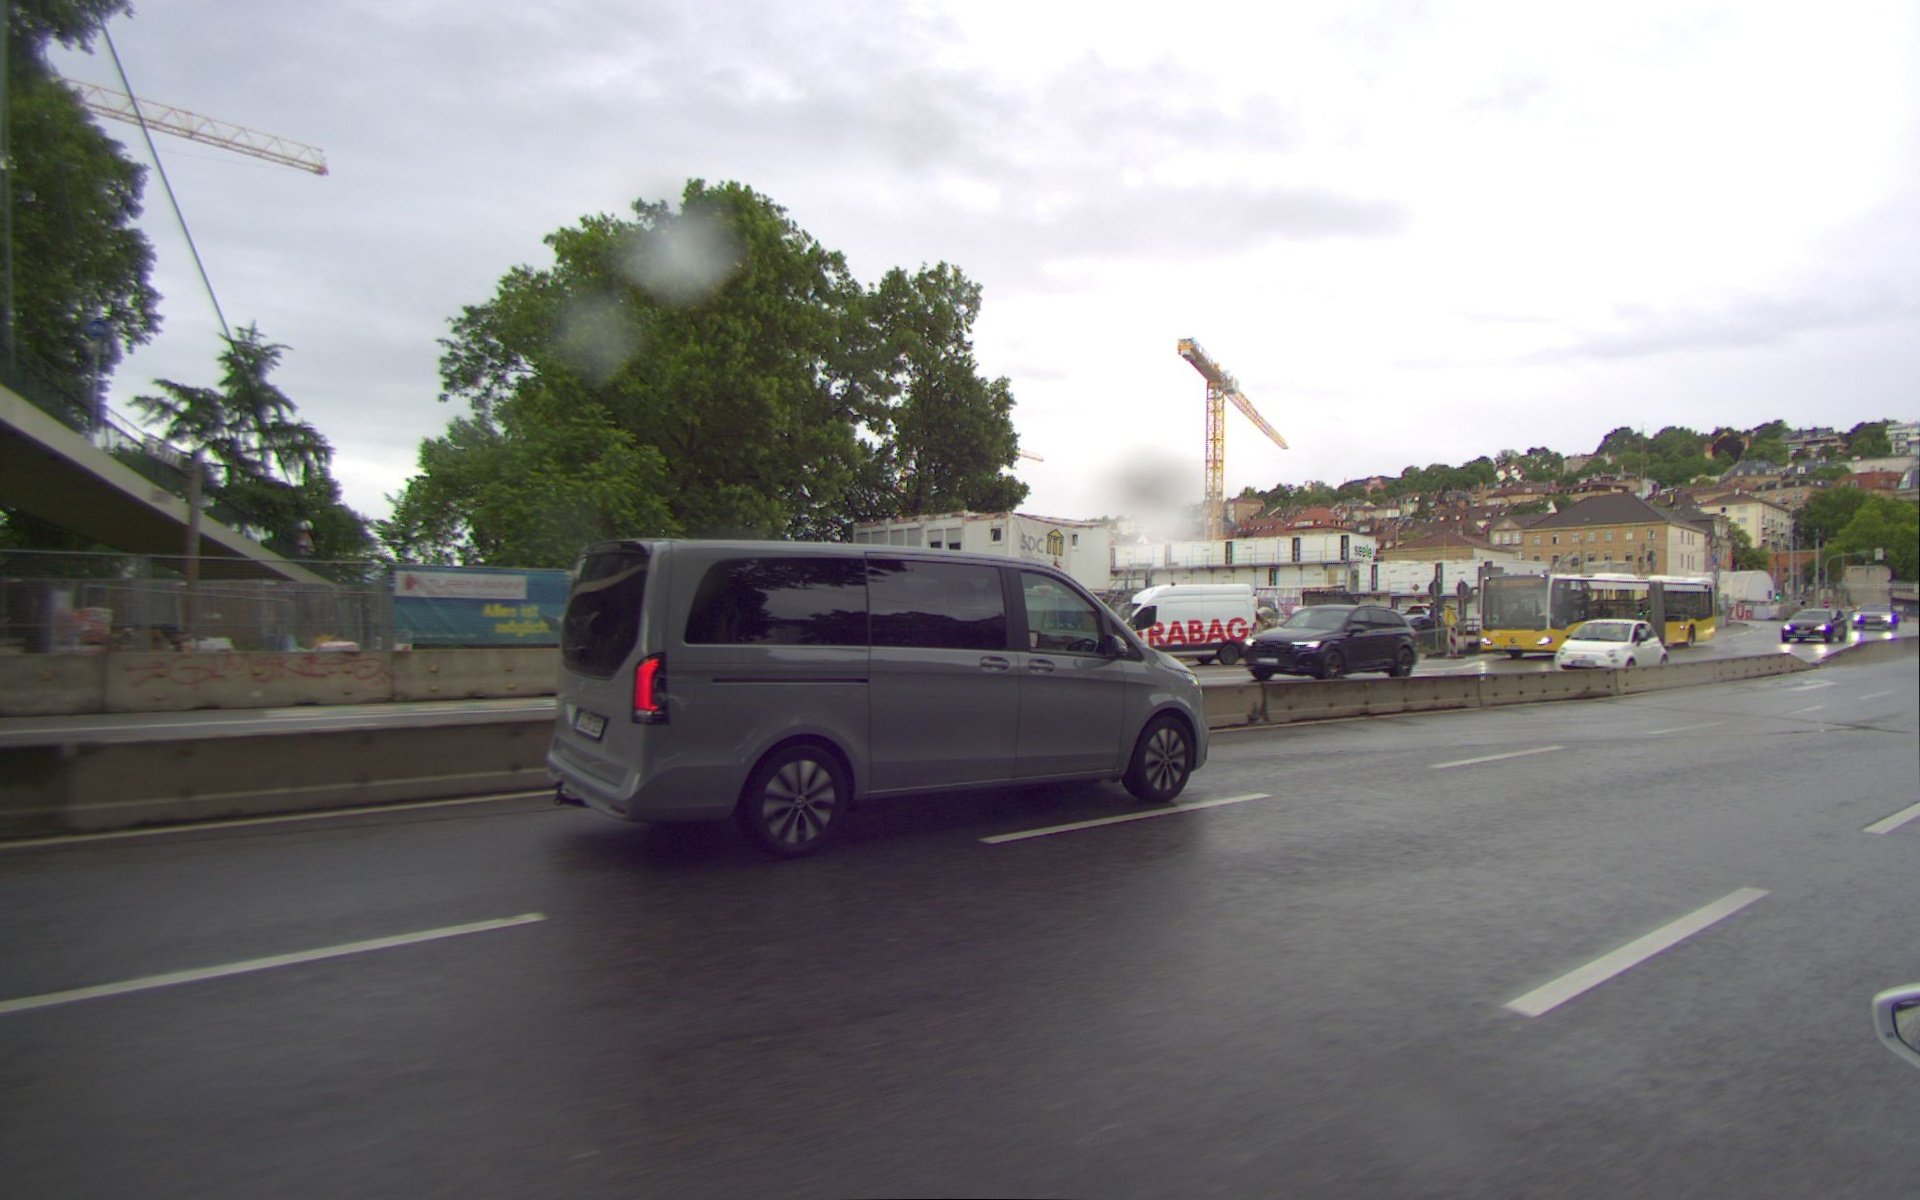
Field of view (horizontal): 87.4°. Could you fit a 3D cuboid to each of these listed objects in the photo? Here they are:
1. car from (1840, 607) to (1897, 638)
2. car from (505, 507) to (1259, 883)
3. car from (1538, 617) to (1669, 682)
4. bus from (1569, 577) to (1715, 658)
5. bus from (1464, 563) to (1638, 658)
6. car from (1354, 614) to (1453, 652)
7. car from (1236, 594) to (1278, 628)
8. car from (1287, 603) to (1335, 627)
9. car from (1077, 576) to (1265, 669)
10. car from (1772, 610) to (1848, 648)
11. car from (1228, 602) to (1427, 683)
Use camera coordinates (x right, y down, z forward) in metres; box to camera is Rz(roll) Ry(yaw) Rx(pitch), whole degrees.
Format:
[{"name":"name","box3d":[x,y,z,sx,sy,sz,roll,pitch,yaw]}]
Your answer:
[{"name":"car","box3d":[57.360,1.446,63.387,5.255,1.778,1.977,3,-3,-40]},{"name":"car","box3d":[-0.278,0.550,7.419,5.307,1.881,1.979,2,-1,-37]},{"name":"car","box3d":[16.170,1.259,25.208,3.419,1.509,1.697,3,-3,-37]},{"name":"bus","box3d":[29.555,0.826,43.349,9.071,3.193,2.682,2,-2,-39]},{"name":"bus","box3d":[22.452,0.494,37.929,8.731,3.226,2.784,2,-2,-39]},{"name":"car","box3d":[20.234,1.509,45.794,4.626,1.586,1.754,3,-3,-29]},{"name":"car","box3d":[26.708,1.010,90.238,1.968,2.867,5.295,-1,-3,36]},{"name":"car","box3d":[30.344,1.284,86.708,1.972,2.040,5.282,-1,-1,43]},{"name":"car","box3d":[7.103,0.802,33.955,5.945,2.912,1.996,2,-2,-11]},{"name":"car","box3d":[40.910,1.429,48.320,4.894,1.683,2.022,3,-3,-40]},{"name":"car","box3d":[8.413,0.936,22.798,4.810,1.652,2.066,1,-2,-39]}]
